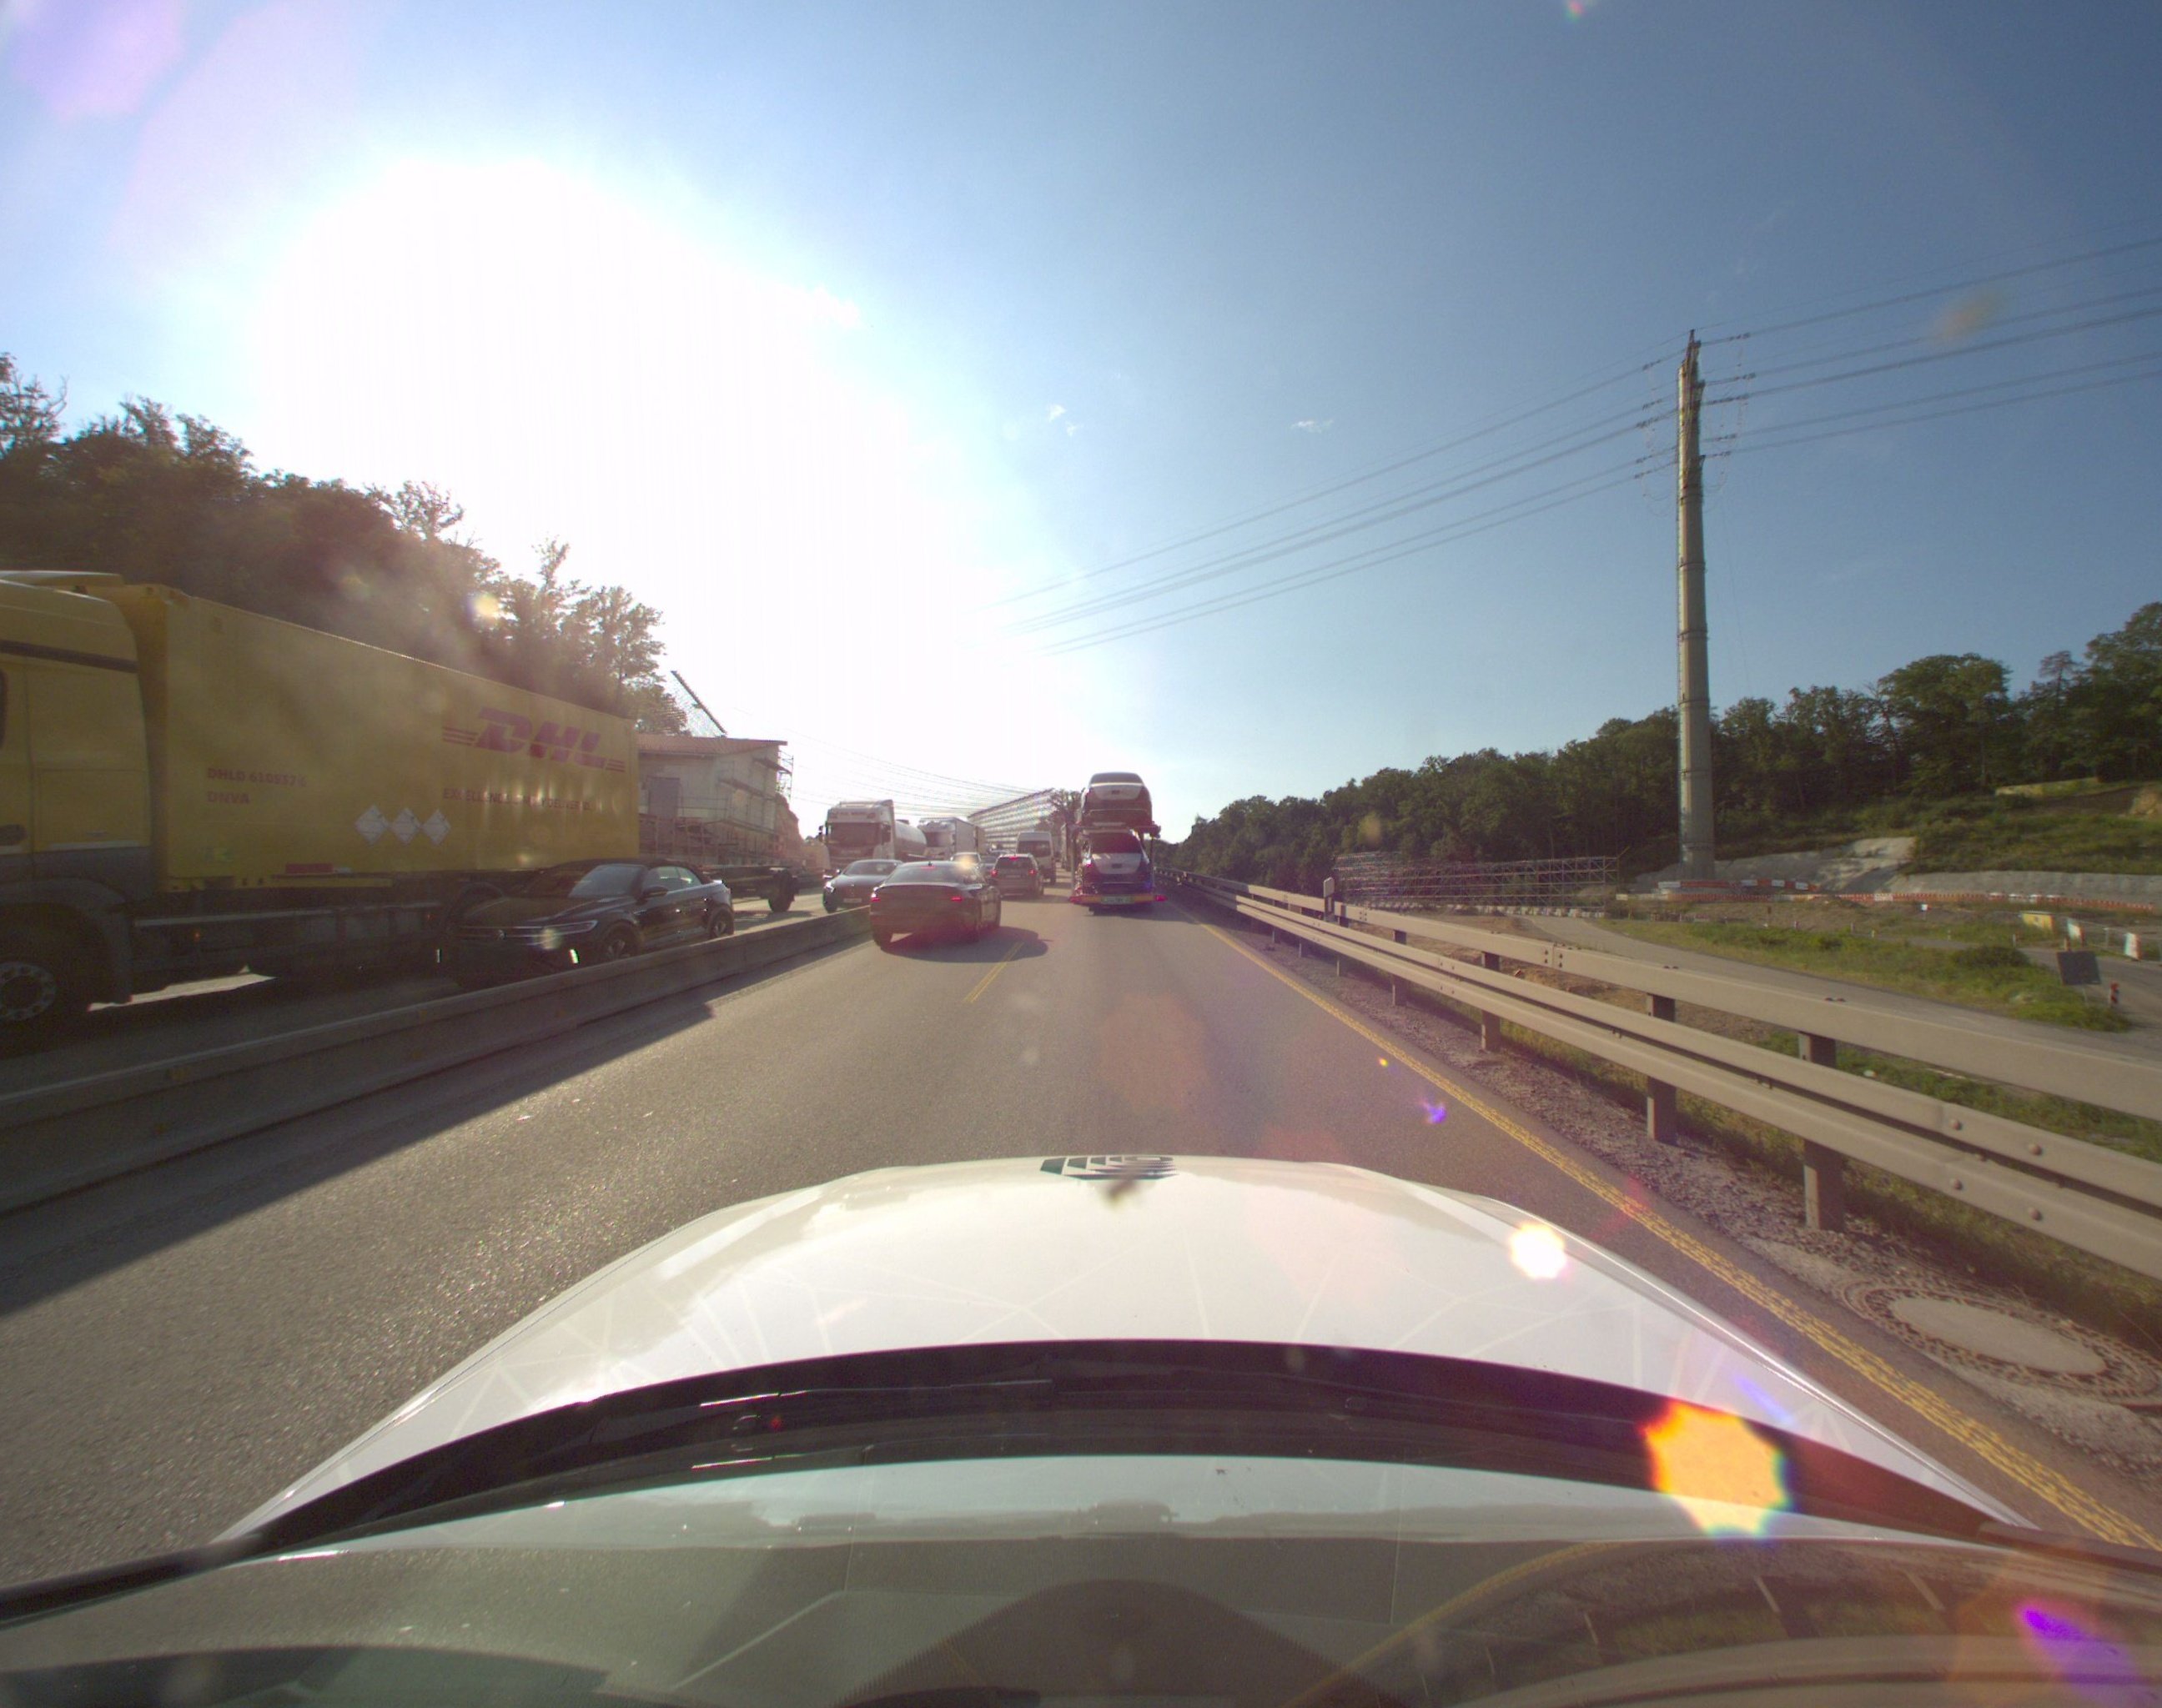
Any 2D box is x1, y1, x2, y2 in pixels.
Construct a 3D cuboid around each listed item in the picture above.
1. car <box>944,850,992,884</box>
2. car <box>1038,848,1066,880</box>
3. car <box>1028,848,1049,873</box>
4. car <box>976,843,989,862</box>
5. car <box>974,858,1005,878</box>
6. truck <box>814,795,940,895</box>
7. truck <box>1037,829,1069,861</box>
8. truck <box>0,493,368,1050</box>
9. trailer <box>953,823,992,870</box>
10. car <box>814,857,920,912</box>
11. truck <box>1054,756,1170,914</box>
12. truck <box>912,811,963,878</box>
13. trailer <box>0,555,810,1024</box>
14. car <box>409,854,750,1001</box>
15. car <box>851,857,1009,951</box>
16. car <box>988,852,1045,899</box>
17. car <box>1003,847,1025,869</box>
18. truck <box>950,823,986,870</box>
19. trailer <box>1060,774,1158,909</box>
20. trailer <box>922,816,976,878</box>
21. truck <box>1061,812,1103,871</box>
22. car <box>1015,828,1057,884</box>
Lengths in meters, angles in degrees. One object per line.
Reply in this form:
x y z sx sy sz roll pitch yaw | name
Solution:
-5.949 0.678 43.448 1.840 1.648 4.559 -2 -1 0 | car
-1.932 0.676 53.405 1.665 1.984 3.812 -1 -1 -4 | car
-3.524 0.561 67.005 1.665 1.984 3.811 -1 -1 -5 | car
-14.378 -0.230 119.112 1.665 2.765 4.952 -1 0 -4 | car
-6.117 0.959 54.809 1.706 1.253 4.049 -2 -1 -1 | car
-9.361 -0.355 39.565 2.801 3.970 13.886 1 0 -1 | truck
-4.409 -1.303 125.234 3.646 4.677 11.663 -1 0 -8 | truck
-9.463 -0.587 7.027 2.684 4.197 4.398 -1 -1 1 | truck
-11.090 -0.570 84.670 2.887 4.394 14.360 -1 -1 -3 | trailer
-6.099 0.842 23.819 1.733 1.402 4.903 -1 -1 1 | car
0.876 -0.435 23.635 2.859 3.980 5.773 -1 -1 2 | truck
-9.753 -0.549 55.807 2.437 4.272 6.317 -1 -1 -2 | truck
-9.301 -0.433 15.331 2.691 4.204 15.999 -1 -1 1 | trailer
-6.162 0.815 10.717 1.710 1.508 4.293 -1 -1 2 | car
-2.724 0.861 16.020 1.933 1.480 5.223 -2 -1 2 | car
-2.285 0.772 29.753 1.695 1.587 4.146 -1 -1 0 | car
-5.989 0.307 73.146 1.828 1.917 4.860 -1 0 -3 | car
-10.657 -0.621 77.206 2.887 4.272 5.763 -1 -1 -4 | truck
1.064 -0.242 32.074 2.864 3.994 15.283 -1 -1 2 | trailer
-9.991 -0.394 62.988 2.446 4.266 12.136 -1 -1 -2 | trailer
-0.038 -1.072 70.996 3.219 4.677 11.687 -1 0 -2 | truck
-2.218 0.136 41.447 1.974 2.684 4.143 -1 -1 -2 | car
